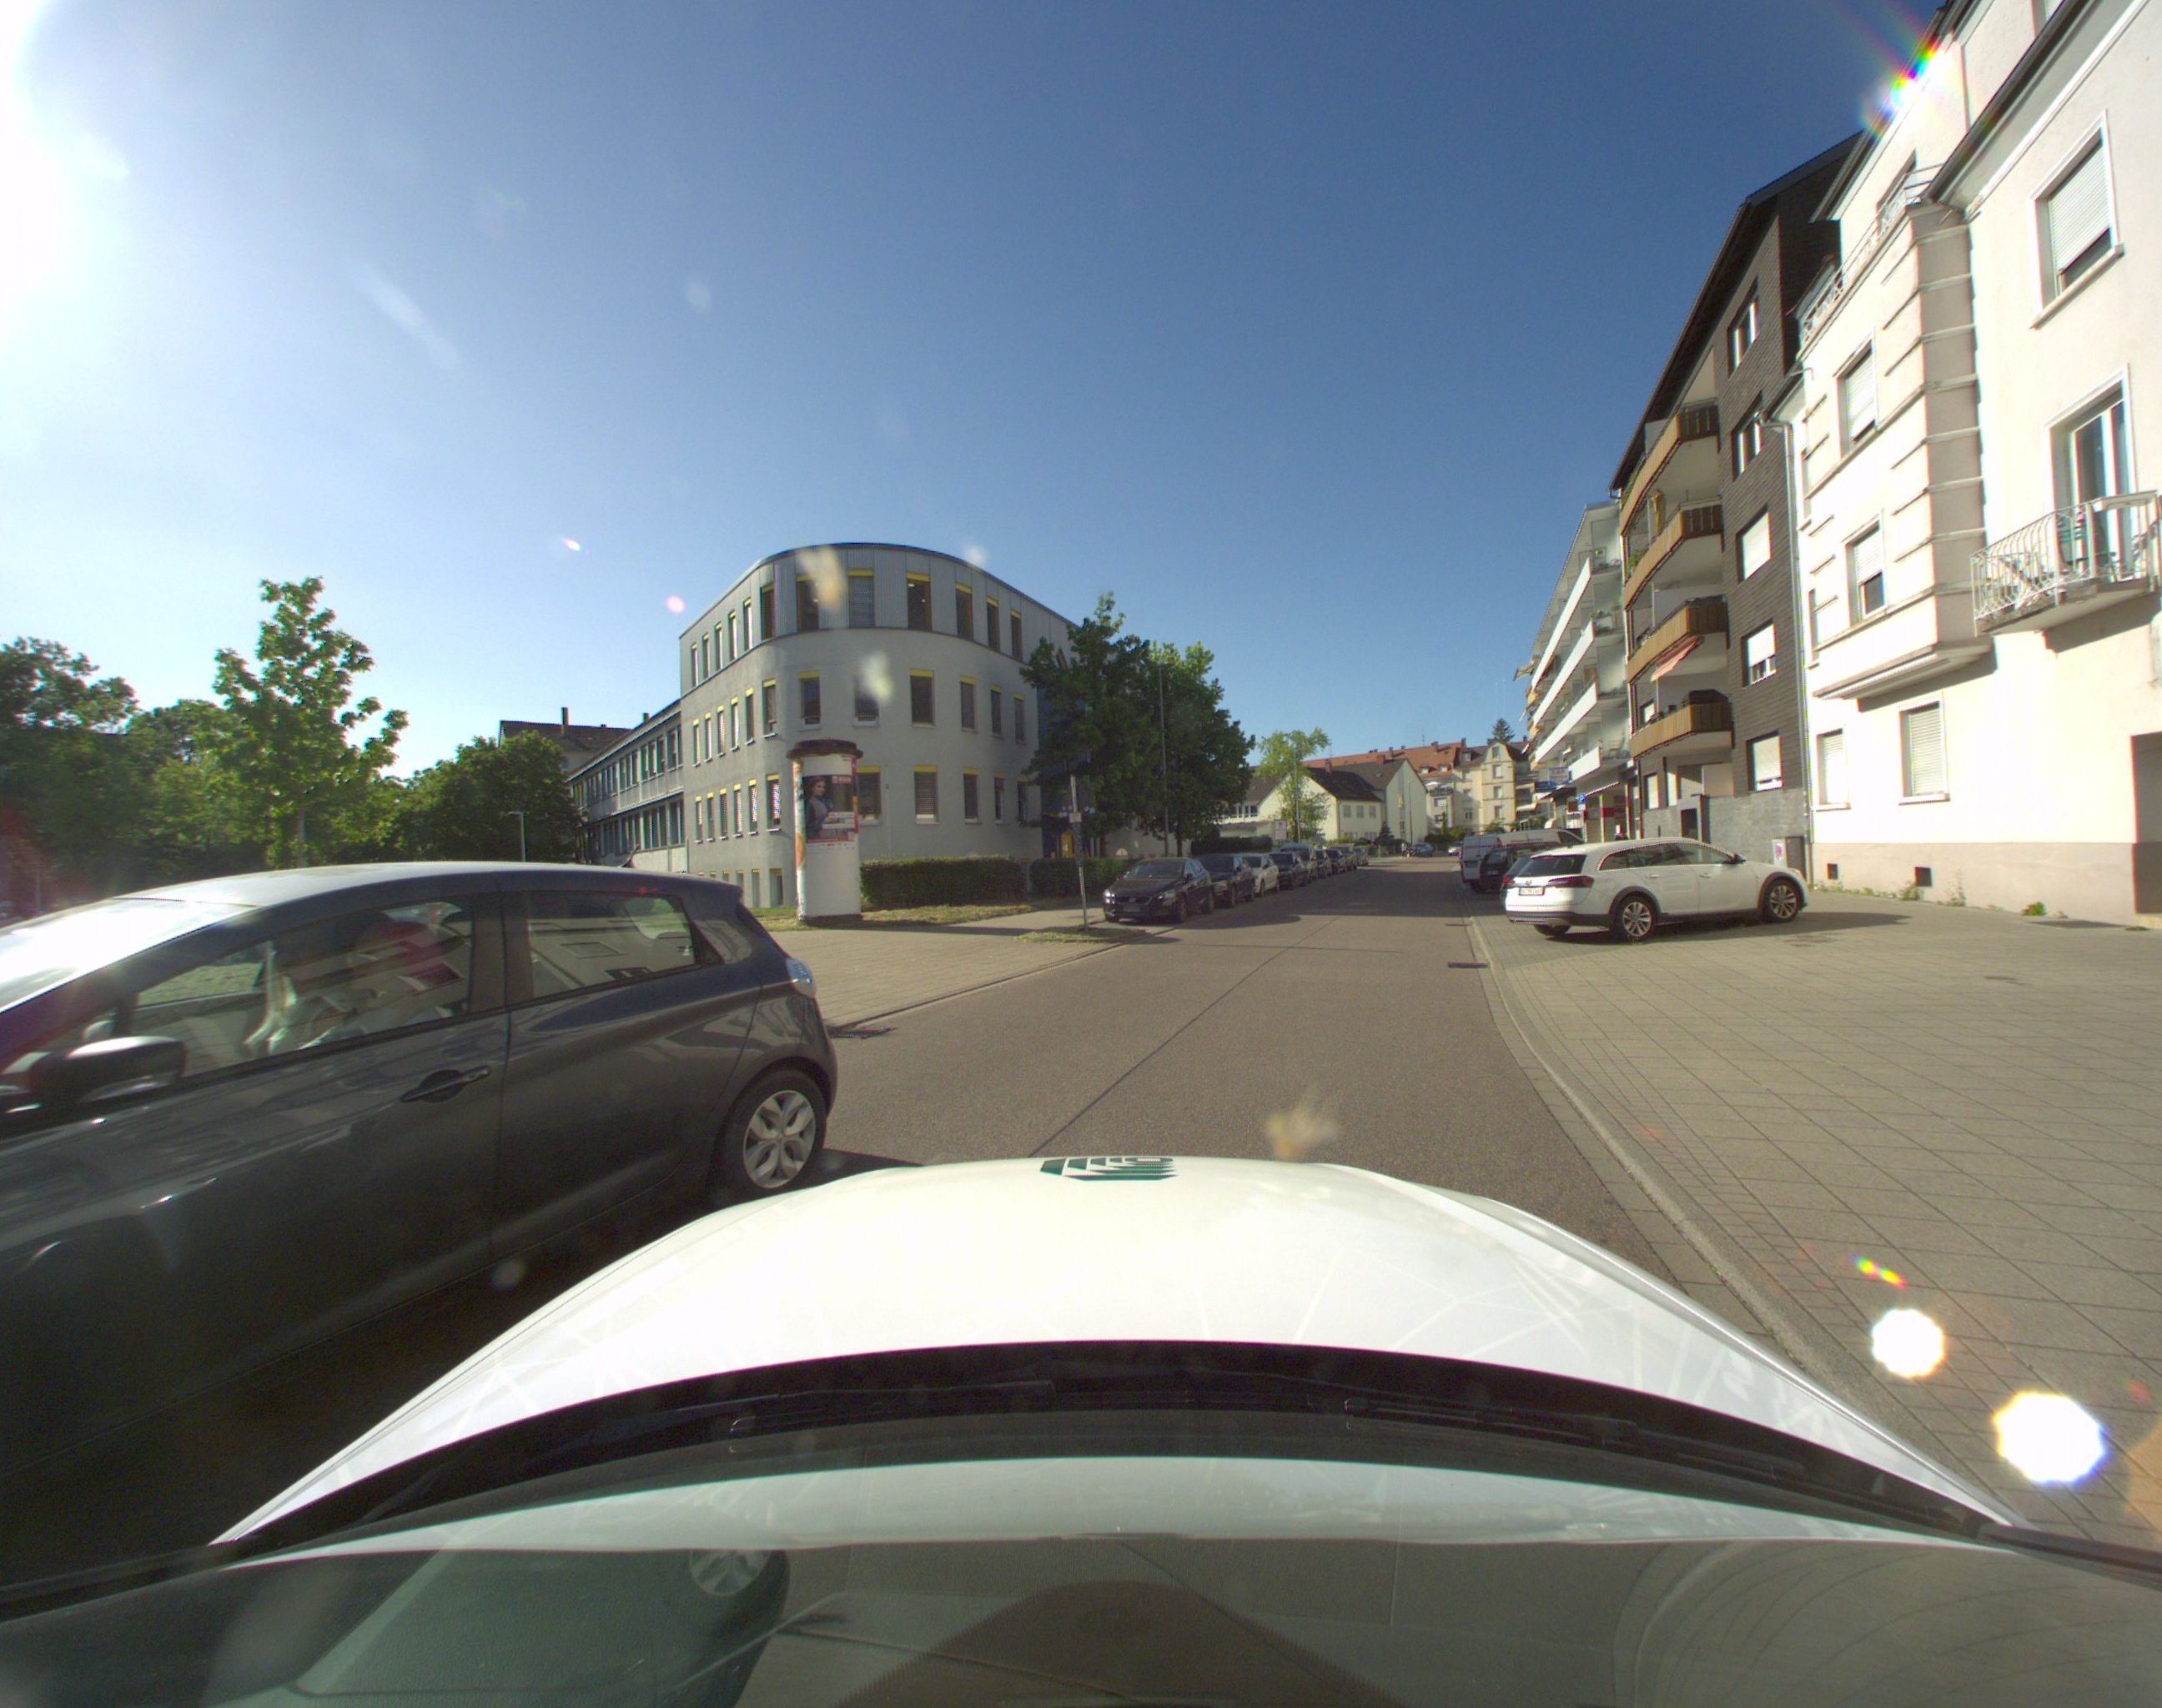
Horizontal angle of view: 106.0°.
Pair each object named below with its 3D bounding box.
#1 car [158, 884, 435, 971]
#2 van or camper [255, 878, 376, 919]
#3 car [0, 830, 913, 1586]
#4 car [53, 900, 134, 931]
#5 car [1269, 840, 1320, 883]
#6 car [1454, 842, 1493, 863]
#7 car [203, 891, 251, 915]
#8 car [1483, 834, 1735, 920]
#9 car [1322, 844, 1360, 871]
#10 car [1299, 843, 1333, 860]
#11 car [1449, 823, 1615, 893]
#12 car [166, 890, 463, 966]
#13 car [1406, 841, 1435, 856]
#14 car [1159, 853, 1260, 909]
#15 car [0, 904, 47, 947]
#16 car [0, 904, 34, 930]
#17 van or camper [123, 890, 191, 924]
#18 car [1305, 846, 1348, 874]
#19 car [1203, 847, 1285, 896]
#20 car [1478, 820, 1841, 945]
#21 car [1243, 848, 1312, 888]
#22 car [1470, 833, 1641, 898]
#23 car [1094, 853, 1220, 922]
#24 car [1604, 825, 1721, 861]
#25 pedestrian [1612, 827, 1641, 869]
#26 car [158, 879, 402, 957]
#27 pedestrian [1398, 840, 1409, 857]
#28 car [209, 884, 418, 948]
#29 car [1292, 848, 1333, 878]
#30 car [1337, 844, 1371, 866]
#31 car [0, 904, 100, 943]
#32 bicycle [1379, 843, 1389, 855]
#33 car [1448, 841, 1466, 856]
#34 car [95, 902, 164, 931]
[{"bbox_3d":[-16.628,1.478,17.519,4.125,1.492,1.707,-1,-2,-44],"label":"car"},{"bbox_3d":[-35.817,2.044,38.280,4.021,1.772,1.976,1,-3,-41],"label":"van or camper"},{"bbox_3d":[-2.610,0.742,2.863,1.820,1.504,4.161,-2,-1,24],"label":"car"},{"bbox_3d":[-48.517,2.997,40.090,2.011,1.408,3.860,1,-3,-43],"label":"car"},{"bbox_3d":[9.949,0.304,37.716,1.673,1.838,4.364,-2,0,22],"label":"car"},{"bbox_3d":[28.547,-0.121,59.150,1.952,1.450,5.035,-2,-1,32],"label":"car"},{"bbox_3d":[-74.819,4.302,71.419,2.007,2.014,3.958,0,-3,-33],"label":"car"},{"bbox_3d":[10.677,0.463,16.603,4.158,1.497,1.816,-2,-2,-10],"label":"car"},{"bbox_3d":[16.747,0.199,52.391,1.704,1.586,4.447,-2,0,25],"label":"car"},{"bbox_3d":[23.069,-0.192,80.023,3.206,1.556,1.784,1,-3,-43],"label":"car"},{"bbox_3d":[14.621,0.141,26.448,4.527,1.898,2.038,-4,-3,-17],"label":"car"},{"bbox_3d":[-17.769,1.647,19.190,4.915,1.274,1.707,-3,-1,-45],"label":"car"},{"bbox_3d":[36.152,-0.623,86.700,1.780,1.473,4.358,-1,1,38],"label":"car"},{"bbox_3d":[3.873,0.742,23.911,1.891,1.479,4.404,-2,-1,22],"label":"car"},{"bbox_3d":[-38.117,2.508,28.219,2.010,1.398,3.953,-2,-1,-40],"label":"car"},{"bbox_3d":[-56.660,3.323,42.870,1.284,1.225,2.632,-2,0,-39],"label":"car"},{"bbox_3d":[-57.405,3.294,50.670,2.009,2.014,3.954,1,-3,-38],"label":"van or camper"},{"bbox_3d":[14.227,0.328,47.048,1.710,1.465,4.465,-2,0,25],"label":"car"},{"bbox_3d":[5.782,0.576,28.455,1.891,1.530,4.650,-2,-1,22],"label":"car"},{"bbox_3d":[9.299,0.405,13.235,4.861,1.464,1.965,-5,0,-11],"label":"car"},{"bbox_3d":[8.014,0.520,32.938,1.716,1.439,4.638,-2,0,25],"label":"car"},{"bbox_3d":[13.456,0.355,23.191,3.982,1.489,1.612,-4,-3,-8],"label":"car"},{"bbox_3d":[1.937,0.730,19.419,1.773,1.410,4.246,-2,0,22],"label":"car"},{"bbox_3d":[28.663,-0.509,40.341,4.351,1.512,1.990,-3,-1,23],"label":"car"},{"bbox_3d":[21.637,-0.226,32.325,0.825,1.593,0.894,-4,-1,29],"label":"pedestrian"},{"bbox_3d":[-20.446,1.572,21.054,4.316,1.765,1.975,1,-3,-43],"label":"car"},{"bbox_3d":[32.807,-0.537,82.921,0.829,1.704,0.676,1,-3,-44],"label":"pedestrian"},{"bbox_3d":[-21.907,1.722,23.475,4.240,1.596,1.976,1,-3,-42],"label":"car"},{"bbox_3d":[11.985,0.427,42.072,1.584,1.440,4.021,-2,0,22],"label":"car"},{"bbox_3d":[20.656,0.046,61.499,1.976,1.534,4.946,-2,0,23],"label":"car"},{"bbox_3d":[-42.806,2.844,33.857,1.858,1.398,3.953,-2,-1,-40],"label":"car"},{"bbox_3d":[32.926,-0.552,88.487,0.452,1.250,1.940,-3,-3,36],"label":"bicycle"},{"bbox_3d":[40.362,-0.632,87.379,1.710,1.485,4.130,-2,0,25],"label":"car"},{"bbox_3d":[-53.587,3.482,45.952,1.858,1.398,3.953,-2,-1,-40],"label":"car"}]
